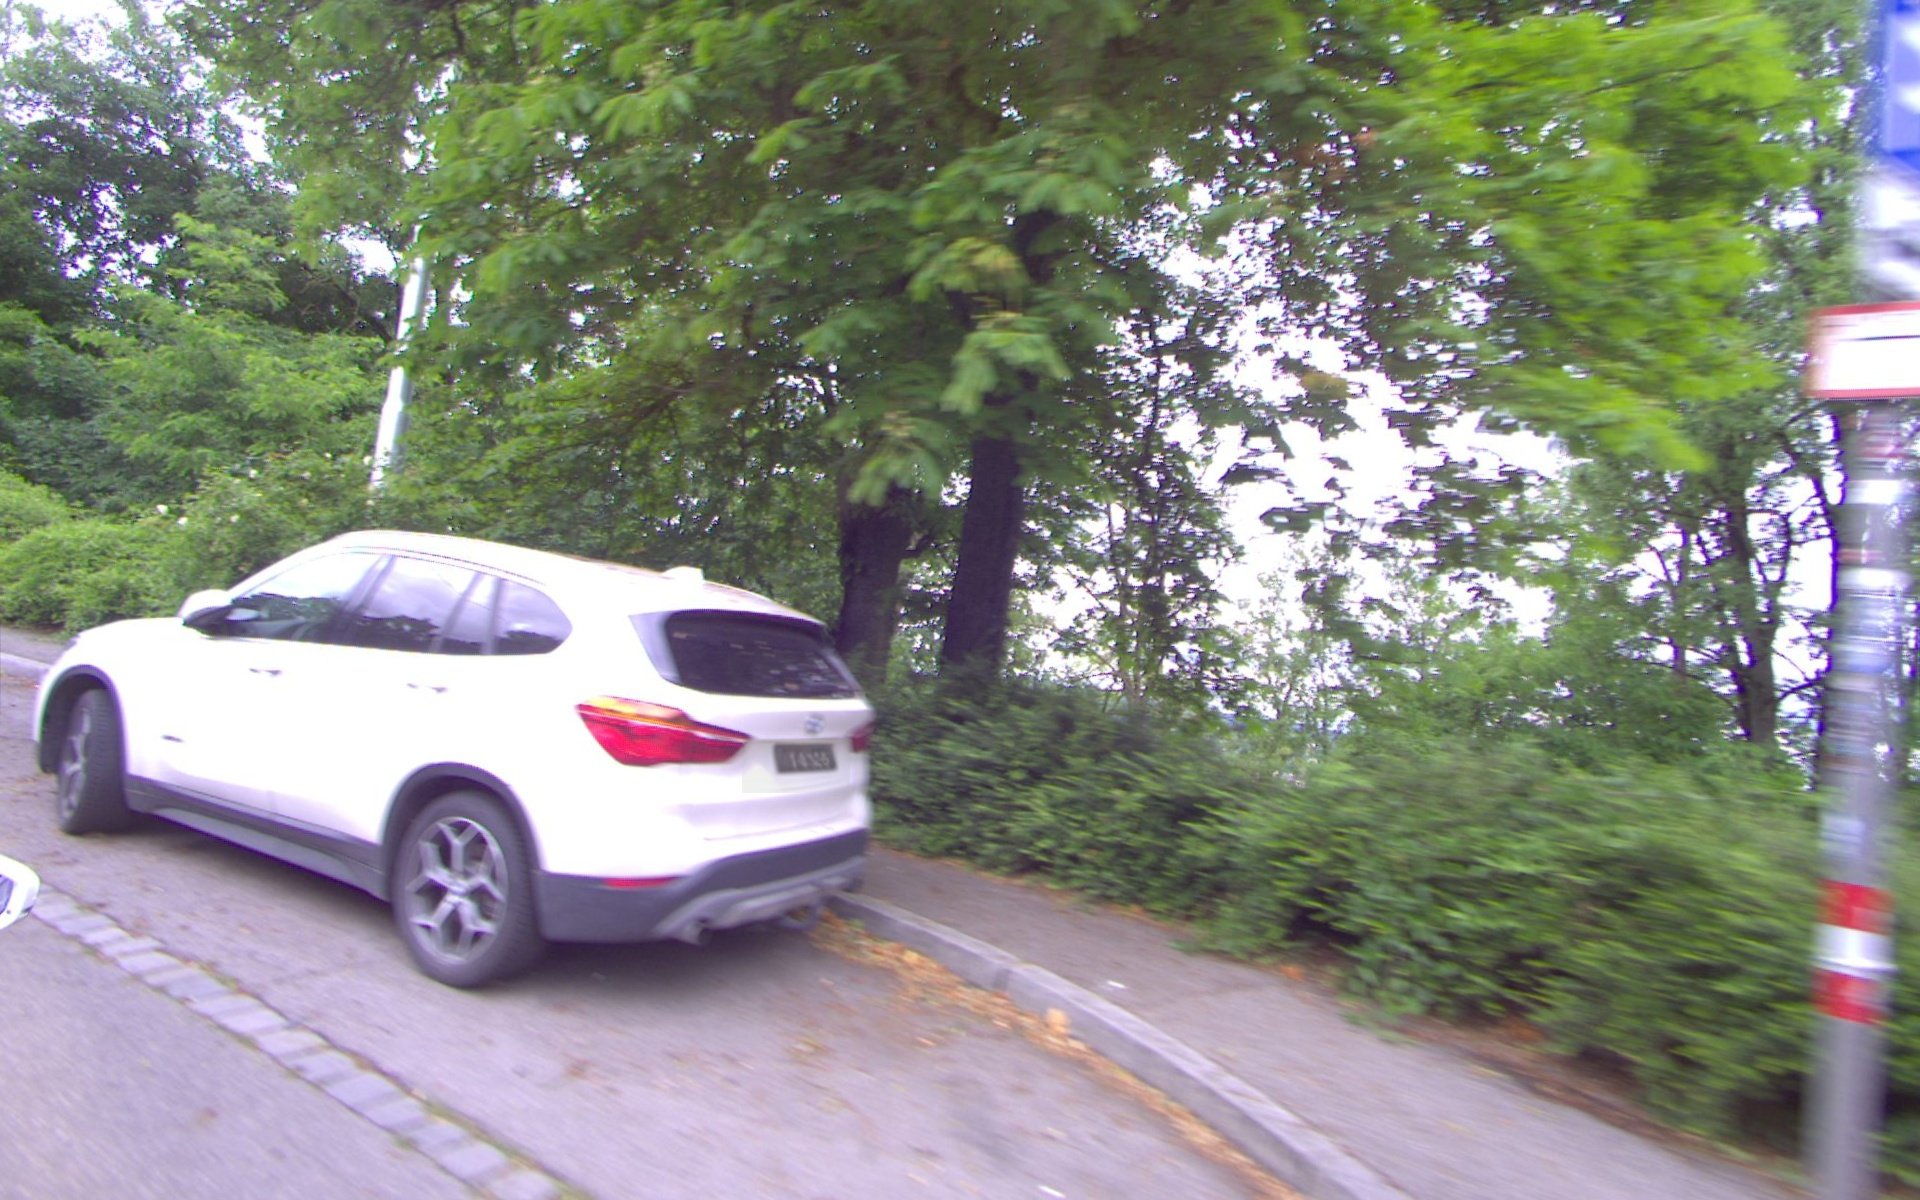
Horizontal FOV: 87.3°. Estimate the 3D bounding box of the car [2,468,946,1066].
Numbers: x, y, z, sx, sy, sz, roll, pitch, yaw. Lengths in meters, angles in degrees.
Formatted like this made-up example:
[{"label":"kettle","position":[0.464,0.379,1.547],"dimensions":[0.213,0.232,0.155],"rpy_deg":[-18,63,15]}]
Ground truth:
[{"label":"car","position":[-2.459,0.466,4.907],"dimensions":[4.303,1.672,1.763],"rpy_deg":[7,-1,27]}]
